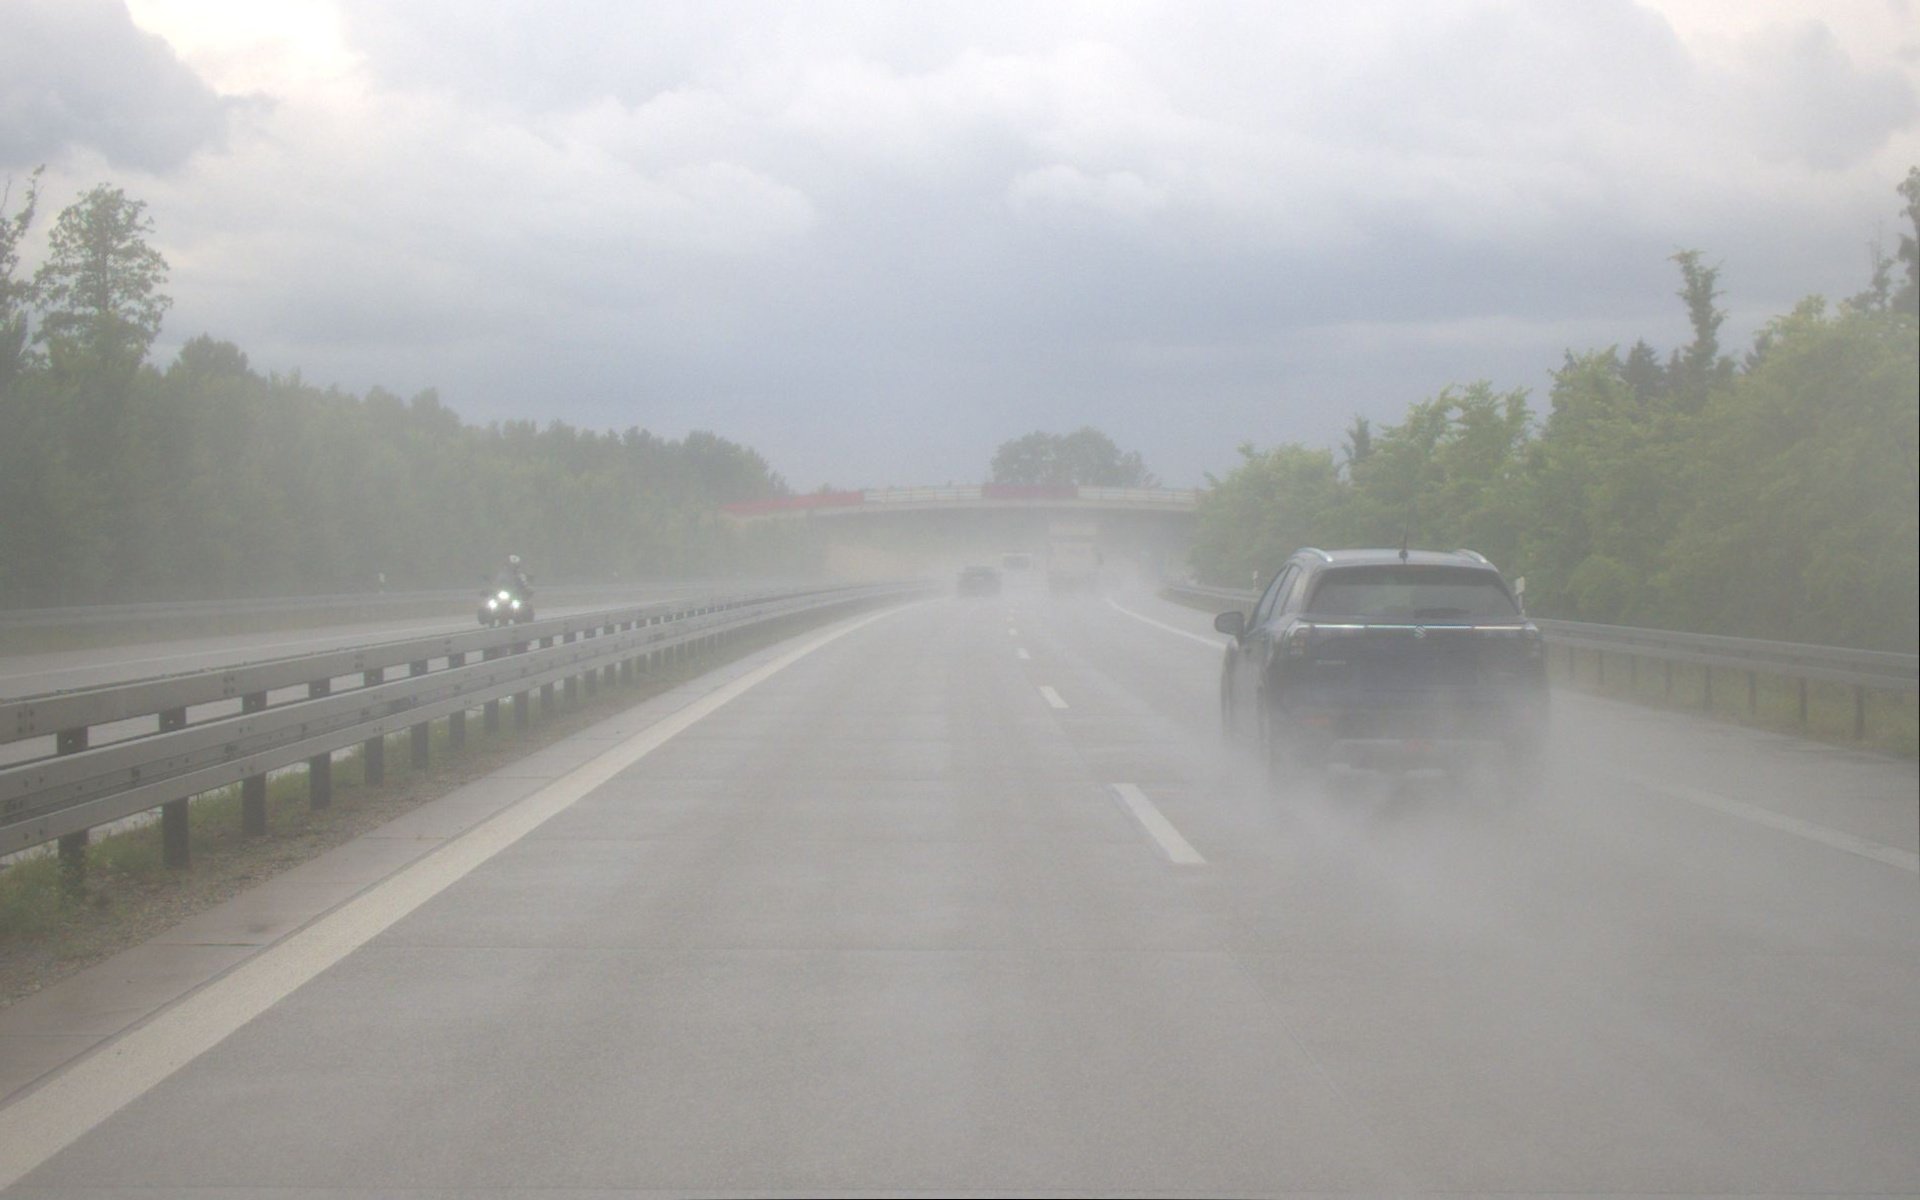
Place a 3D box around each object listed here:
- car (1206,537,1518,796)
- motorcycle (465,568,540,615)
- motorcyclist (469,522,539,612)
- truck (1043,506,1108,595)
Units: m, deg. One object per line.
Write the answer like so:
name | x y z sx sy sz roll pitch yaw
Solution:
car | 2.608 0.400 23.017 1.894 1.570 3.631 1 0 4
motorcycle | -7.444 -0.141 56.066 1.021 0.723 2.280 1 0 -3
motorcyclist | -7.440 -0.543 56.130 1.014 1.427 0.921 1 0 -3
truck | 5.886 -2.538 176.459 3.244 4.422 8.245 0 1 2
